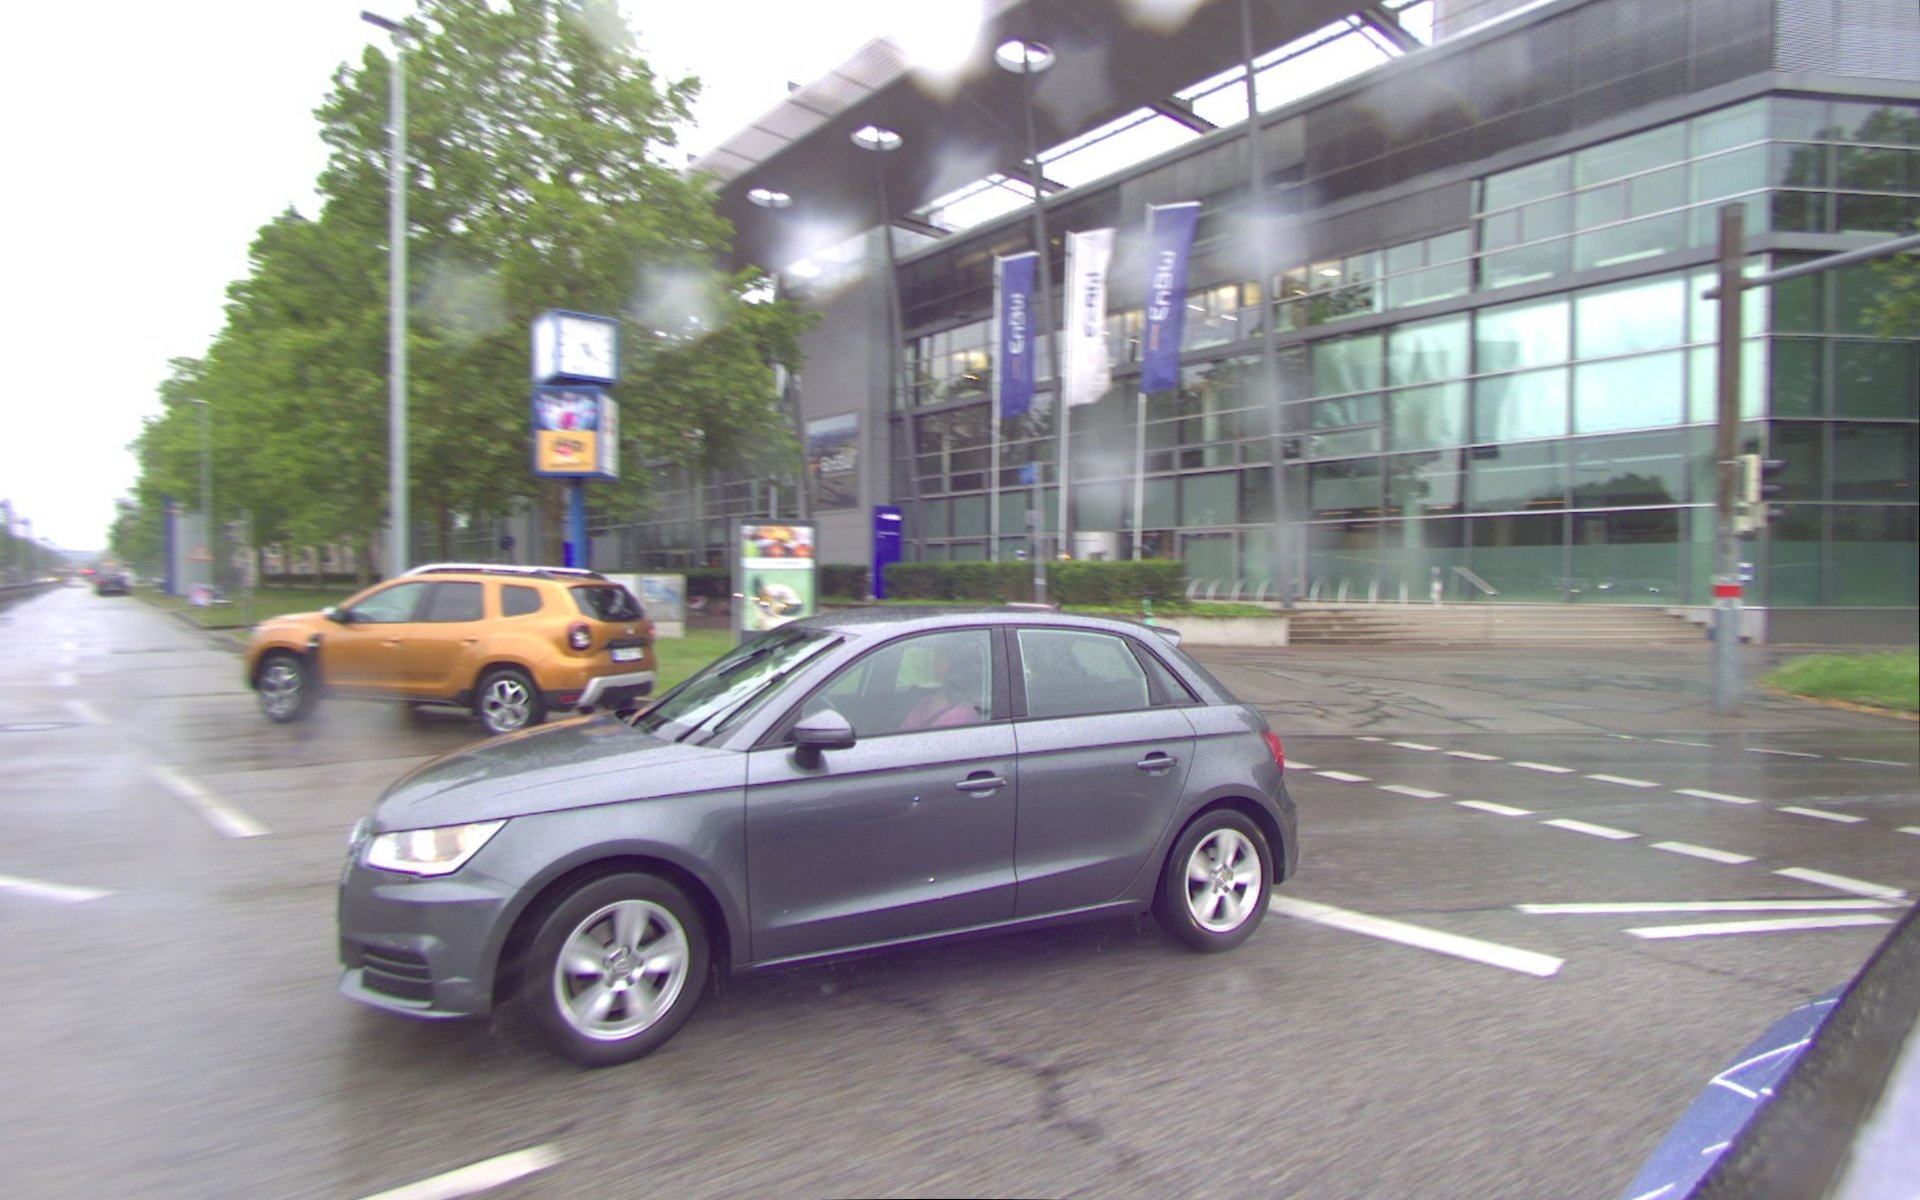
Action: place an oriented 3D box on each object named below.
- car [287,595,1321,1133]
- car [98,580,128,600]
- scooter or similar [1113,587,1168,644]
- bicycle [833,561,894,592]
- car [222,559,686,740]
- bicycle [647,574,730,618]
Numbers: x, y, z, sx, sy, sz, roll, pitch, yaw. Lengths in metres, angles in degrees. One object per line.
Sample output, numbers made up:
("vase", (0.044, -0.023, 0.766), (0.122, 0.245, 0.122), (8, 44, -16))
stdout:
("car", (-0.525, 0.692, 4.314), (3.676, 1.416, 1.845), (0, 0, -26))
("car", (-68.679, -0.825, 82.100), (1.810, 1.571, 3.996), (-1, 2, -39))
("scooter or similar", (3.806, 0.313, 21.416), (0.335, 1.152, 1.172), (-1, 2, -45))
("bicycle", (-4.349, -1.066, 46.096), (1.178, 1.348, 3.669), (1, 2, 22))
("car", (-5.204, 0.415, 10.626), (4.106, 1.652, 1.899), (0, 1, 13))
("bicycle", (-9.264, -0.125, 34.611), (2.625, 1.461, 0.805), (0, -1, 5))
